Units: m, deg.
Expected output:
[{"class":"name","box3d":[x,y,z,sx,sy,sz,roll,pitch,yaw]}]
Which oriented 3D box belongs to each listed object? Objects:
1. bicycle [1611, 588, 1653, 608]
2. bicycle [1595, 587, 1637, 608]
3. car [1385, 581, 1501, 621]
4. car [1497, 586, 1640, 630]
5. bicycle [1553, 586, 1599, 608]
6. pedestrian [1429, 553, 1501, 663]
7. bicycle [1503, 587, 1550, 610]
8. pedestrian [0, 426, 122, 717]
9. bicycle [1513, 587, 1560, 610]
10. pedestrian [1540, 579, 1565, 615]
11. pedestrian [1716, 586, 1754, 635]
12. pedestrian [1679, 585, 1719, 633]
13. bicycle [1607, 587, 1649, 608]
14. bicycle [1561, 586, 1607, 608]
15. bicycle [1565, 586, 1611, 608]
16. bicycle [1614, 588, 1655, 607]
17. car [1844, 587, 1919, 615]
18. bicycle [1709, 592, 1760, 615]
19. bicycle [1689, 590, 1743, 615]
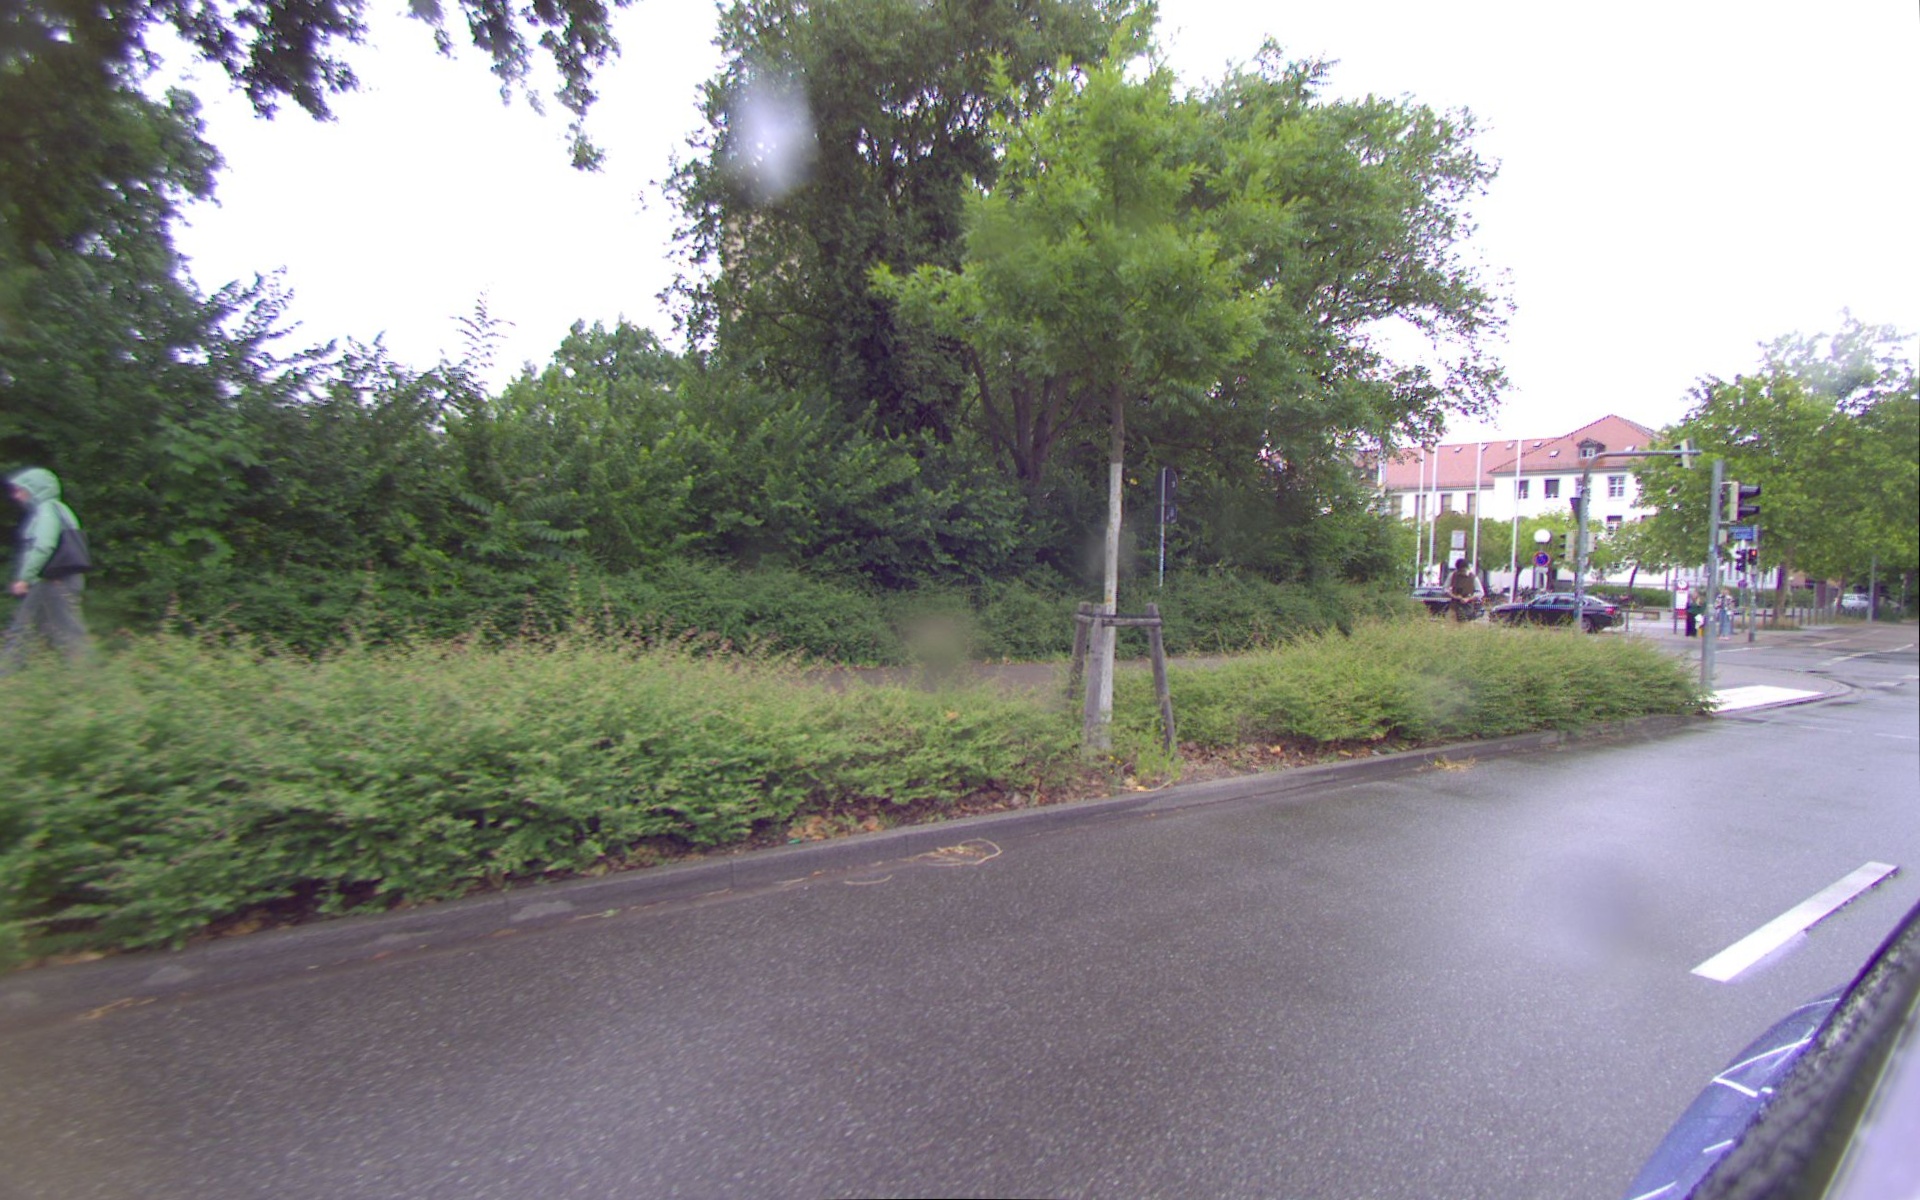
[{"class":"bicycle","box3d":[45.394,-0.170,68.421,2.276,1.237,0.590,4,2,40]},{"class":"bicycle","box3d":[43.291,-0.186,66.813,2.276,1.237,0.590,4,2,40]},{"class":"car","box3d":[20.135,-0.005,42.331,1.742,1.394,4.014,-3,5,-39]},{"class":"car","box3d":[23.272,0.249,38.830,1.743,1.353,4.384,-3,5,-41]},{"class":"bicycle","box3d":[36.936,-0.186,60.681,2.276,1.237,0.590,4,2,40]},{"class":"pedestrian","box3d":[8.971,0.129,17.980,0.834,1.882,0.733,1,2,-31]},{"class":"bicycle","box3d":[33.016,-0.093,58.976,2.276,1.237,0.590,4,2,40]},{"class":"pedestrian","box3d":[-6.815,-0.213,7.490,0.812,2.038,0.794,1,2,-31]},{"class":"bicycle","box3d":[33.726,-0.074,59.211,2.276,1.237,0.590,4,2,40]},{"class":"pedestrian","box3d":[29.934,-0.146,51.113,0.839,1.759,1.116,2,2,20]},{"class":"pedestrian","box3d":[26.879,0.364,35.123,0.870,1.627,0.854,3,2,30]},{"class":"pedestrian","box3d":[26.065,0.310,35.722,0.866,1.627,0.858,3,2,20]},{"class":"bicycle","box3d":[44.686,-0.169,67.722,2.276,1.237,0.590,4,2,40]},{"class":"bicycle","box3d":[37.700,-0.177,61.172,2.276,1.237,0.590,4,2,40]},{"class":"bicycle","box3d":[38.284,-0.176,61.710,2.276,1.237,0.590,4,2,40]},{"class":"bicycle","box3d":[46.112,-0.173,69.210,2.276,1.237,0.590,4,2,40]},{"class":"car","box3d":[71.763,0.049,78.697,4.415,1.895,1.612,4,3,45]},{"class":"bicycle","box3d":[44.544,0.187,58.221,2.276,1.237,0.590,4,2,40]},{"class":"bicycle","box3d":[41.068,0.128,55.007,2.276,1.237,0.590,4,2,40]}]
